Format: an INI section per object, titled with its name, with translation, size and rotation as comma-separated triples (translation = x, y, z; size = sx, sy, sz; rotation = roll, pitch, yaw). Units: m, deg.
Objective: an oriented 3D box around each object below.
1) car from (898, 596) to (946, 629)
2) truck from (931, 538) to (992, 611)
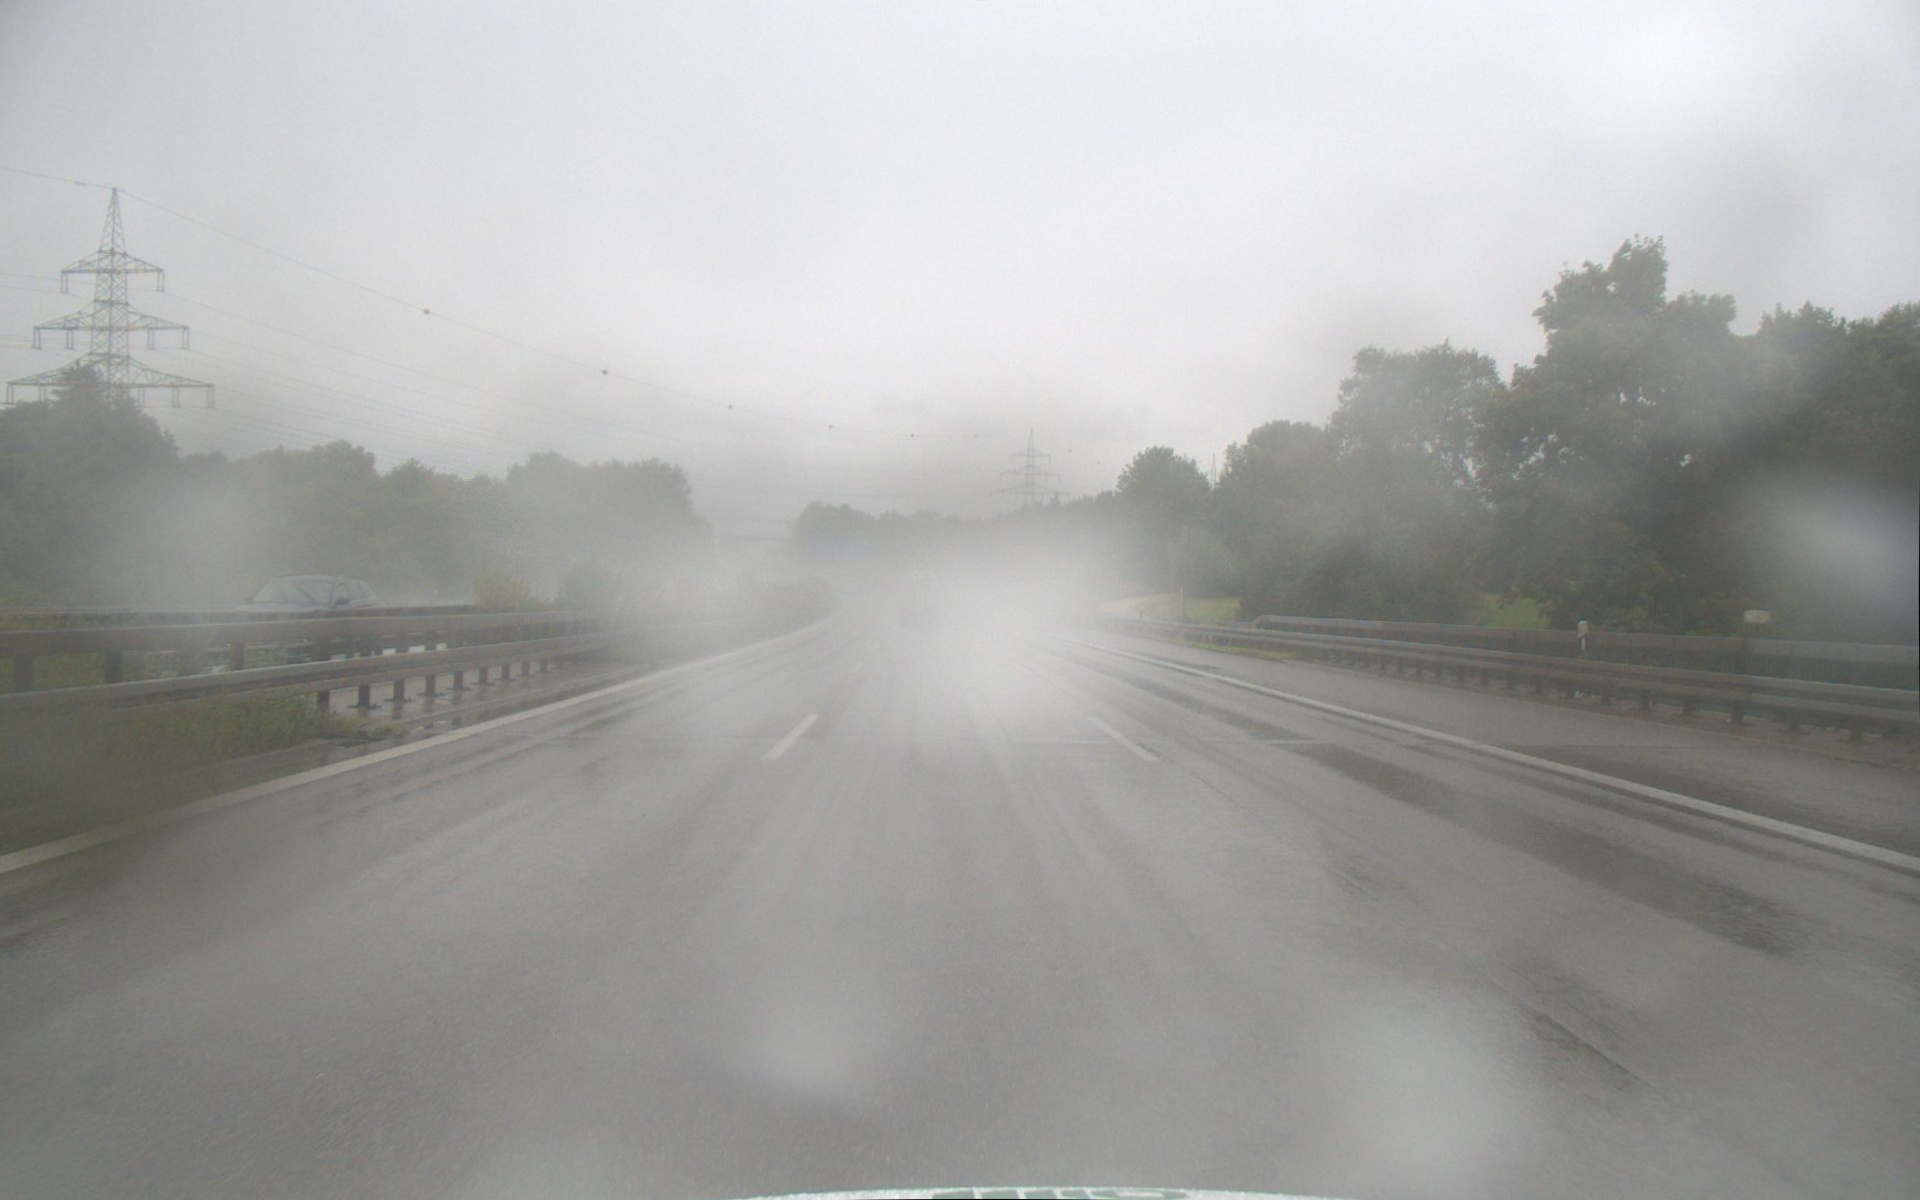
[car]
translation = -1.562, 0.493, 68.385
size = 1.713, 1.233, 4.001
rotation = 4, 0, 2
[truck]
translation = 0.234, -1.864, 122.976
size = 4.169, 5.059, 17.343
rotation = 0, 1, 1
